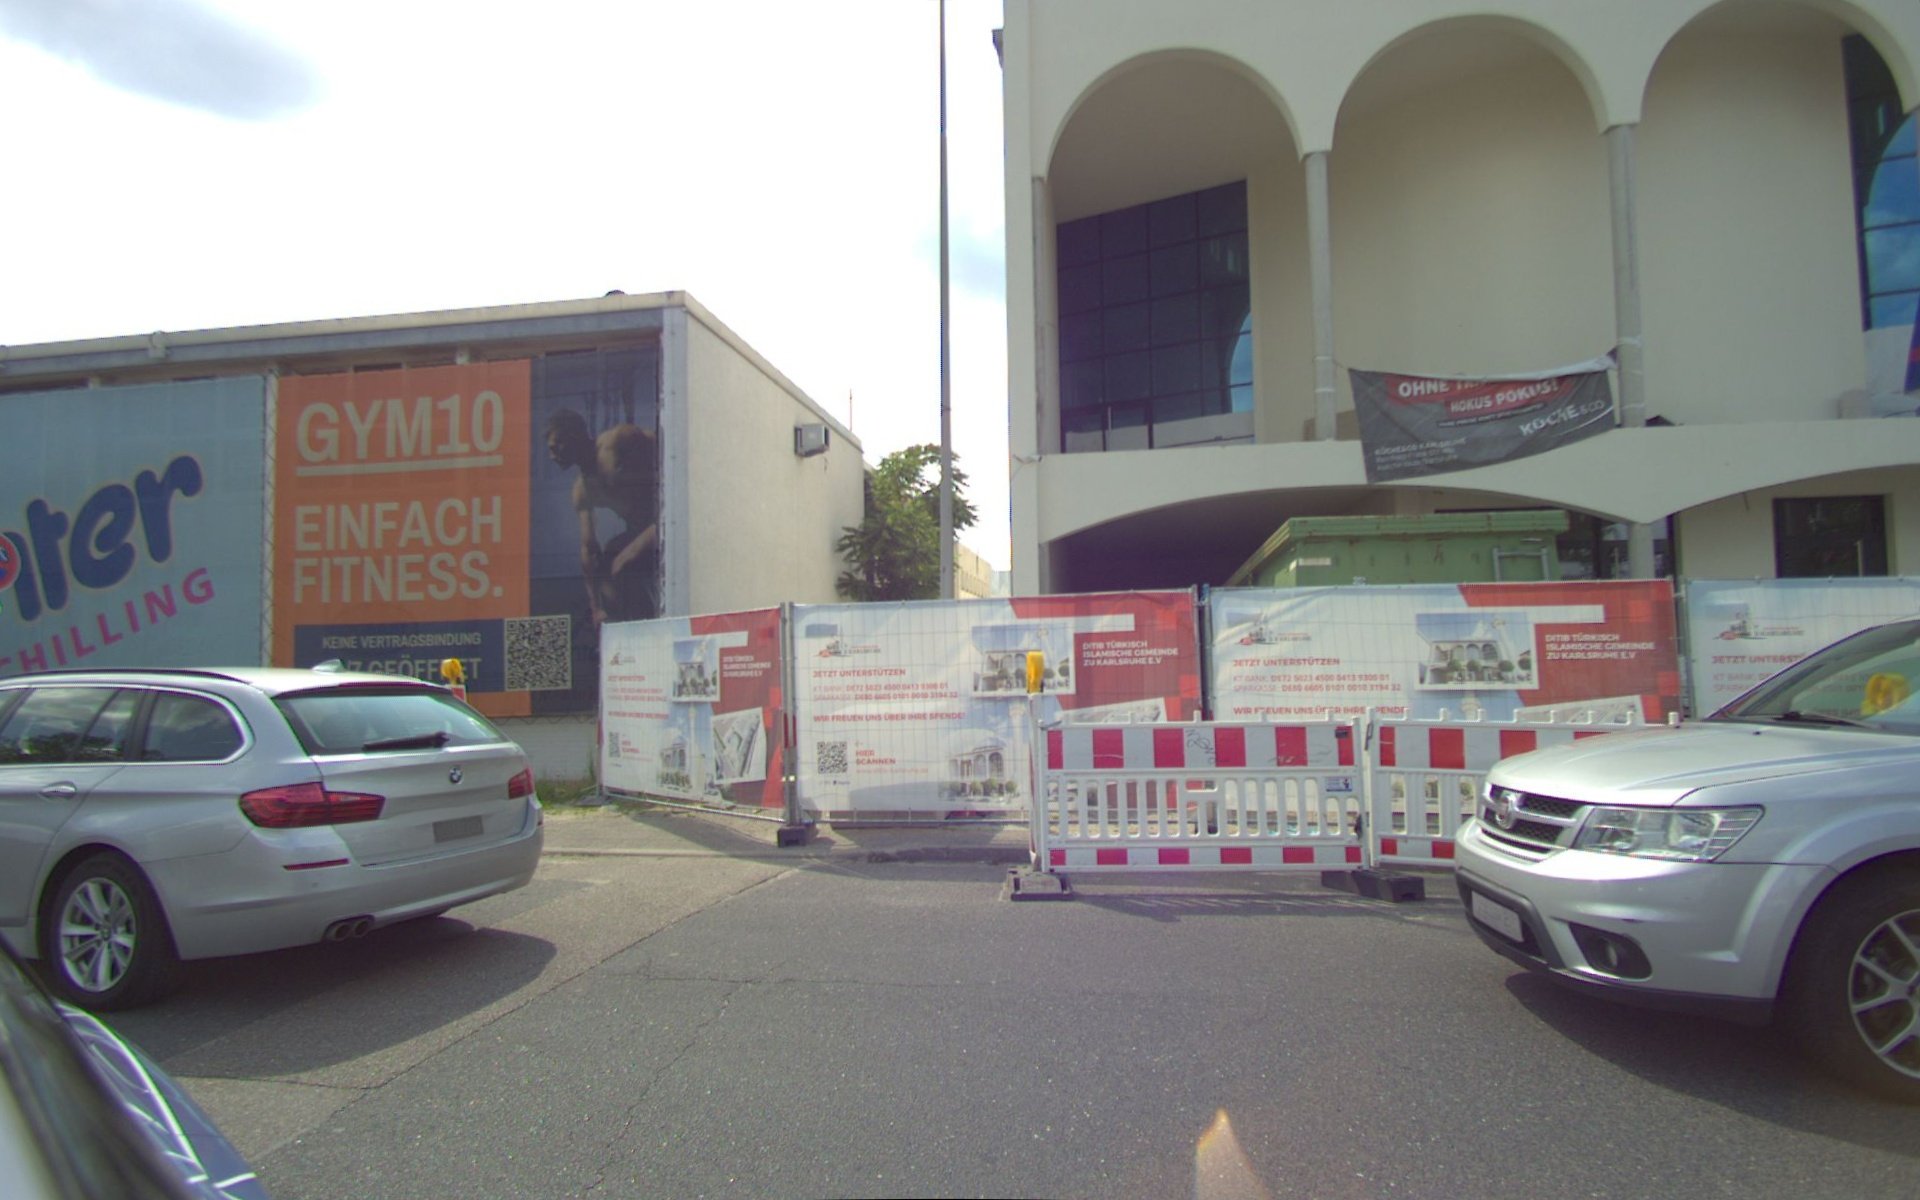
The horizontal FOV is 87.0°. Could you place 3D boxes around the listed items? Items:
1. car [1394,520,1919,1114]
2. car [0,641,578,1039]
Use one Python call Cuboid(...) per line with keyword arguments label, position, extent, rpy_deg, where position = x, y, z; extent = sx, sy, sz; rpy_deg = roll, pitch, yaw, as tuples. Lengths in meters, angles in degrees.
Cuboid(label="car", position=(4.427, 0.675, 3.721), extent=(4.779, 1.712, 1.865), rpy_deg=(-1, -5, 6))
Cuboid(label="car", position=(-4.534, 1.038, 5.356), extent=(4.577, 1.491, 1.761), rpy_deg=(-2, -5, 17))
